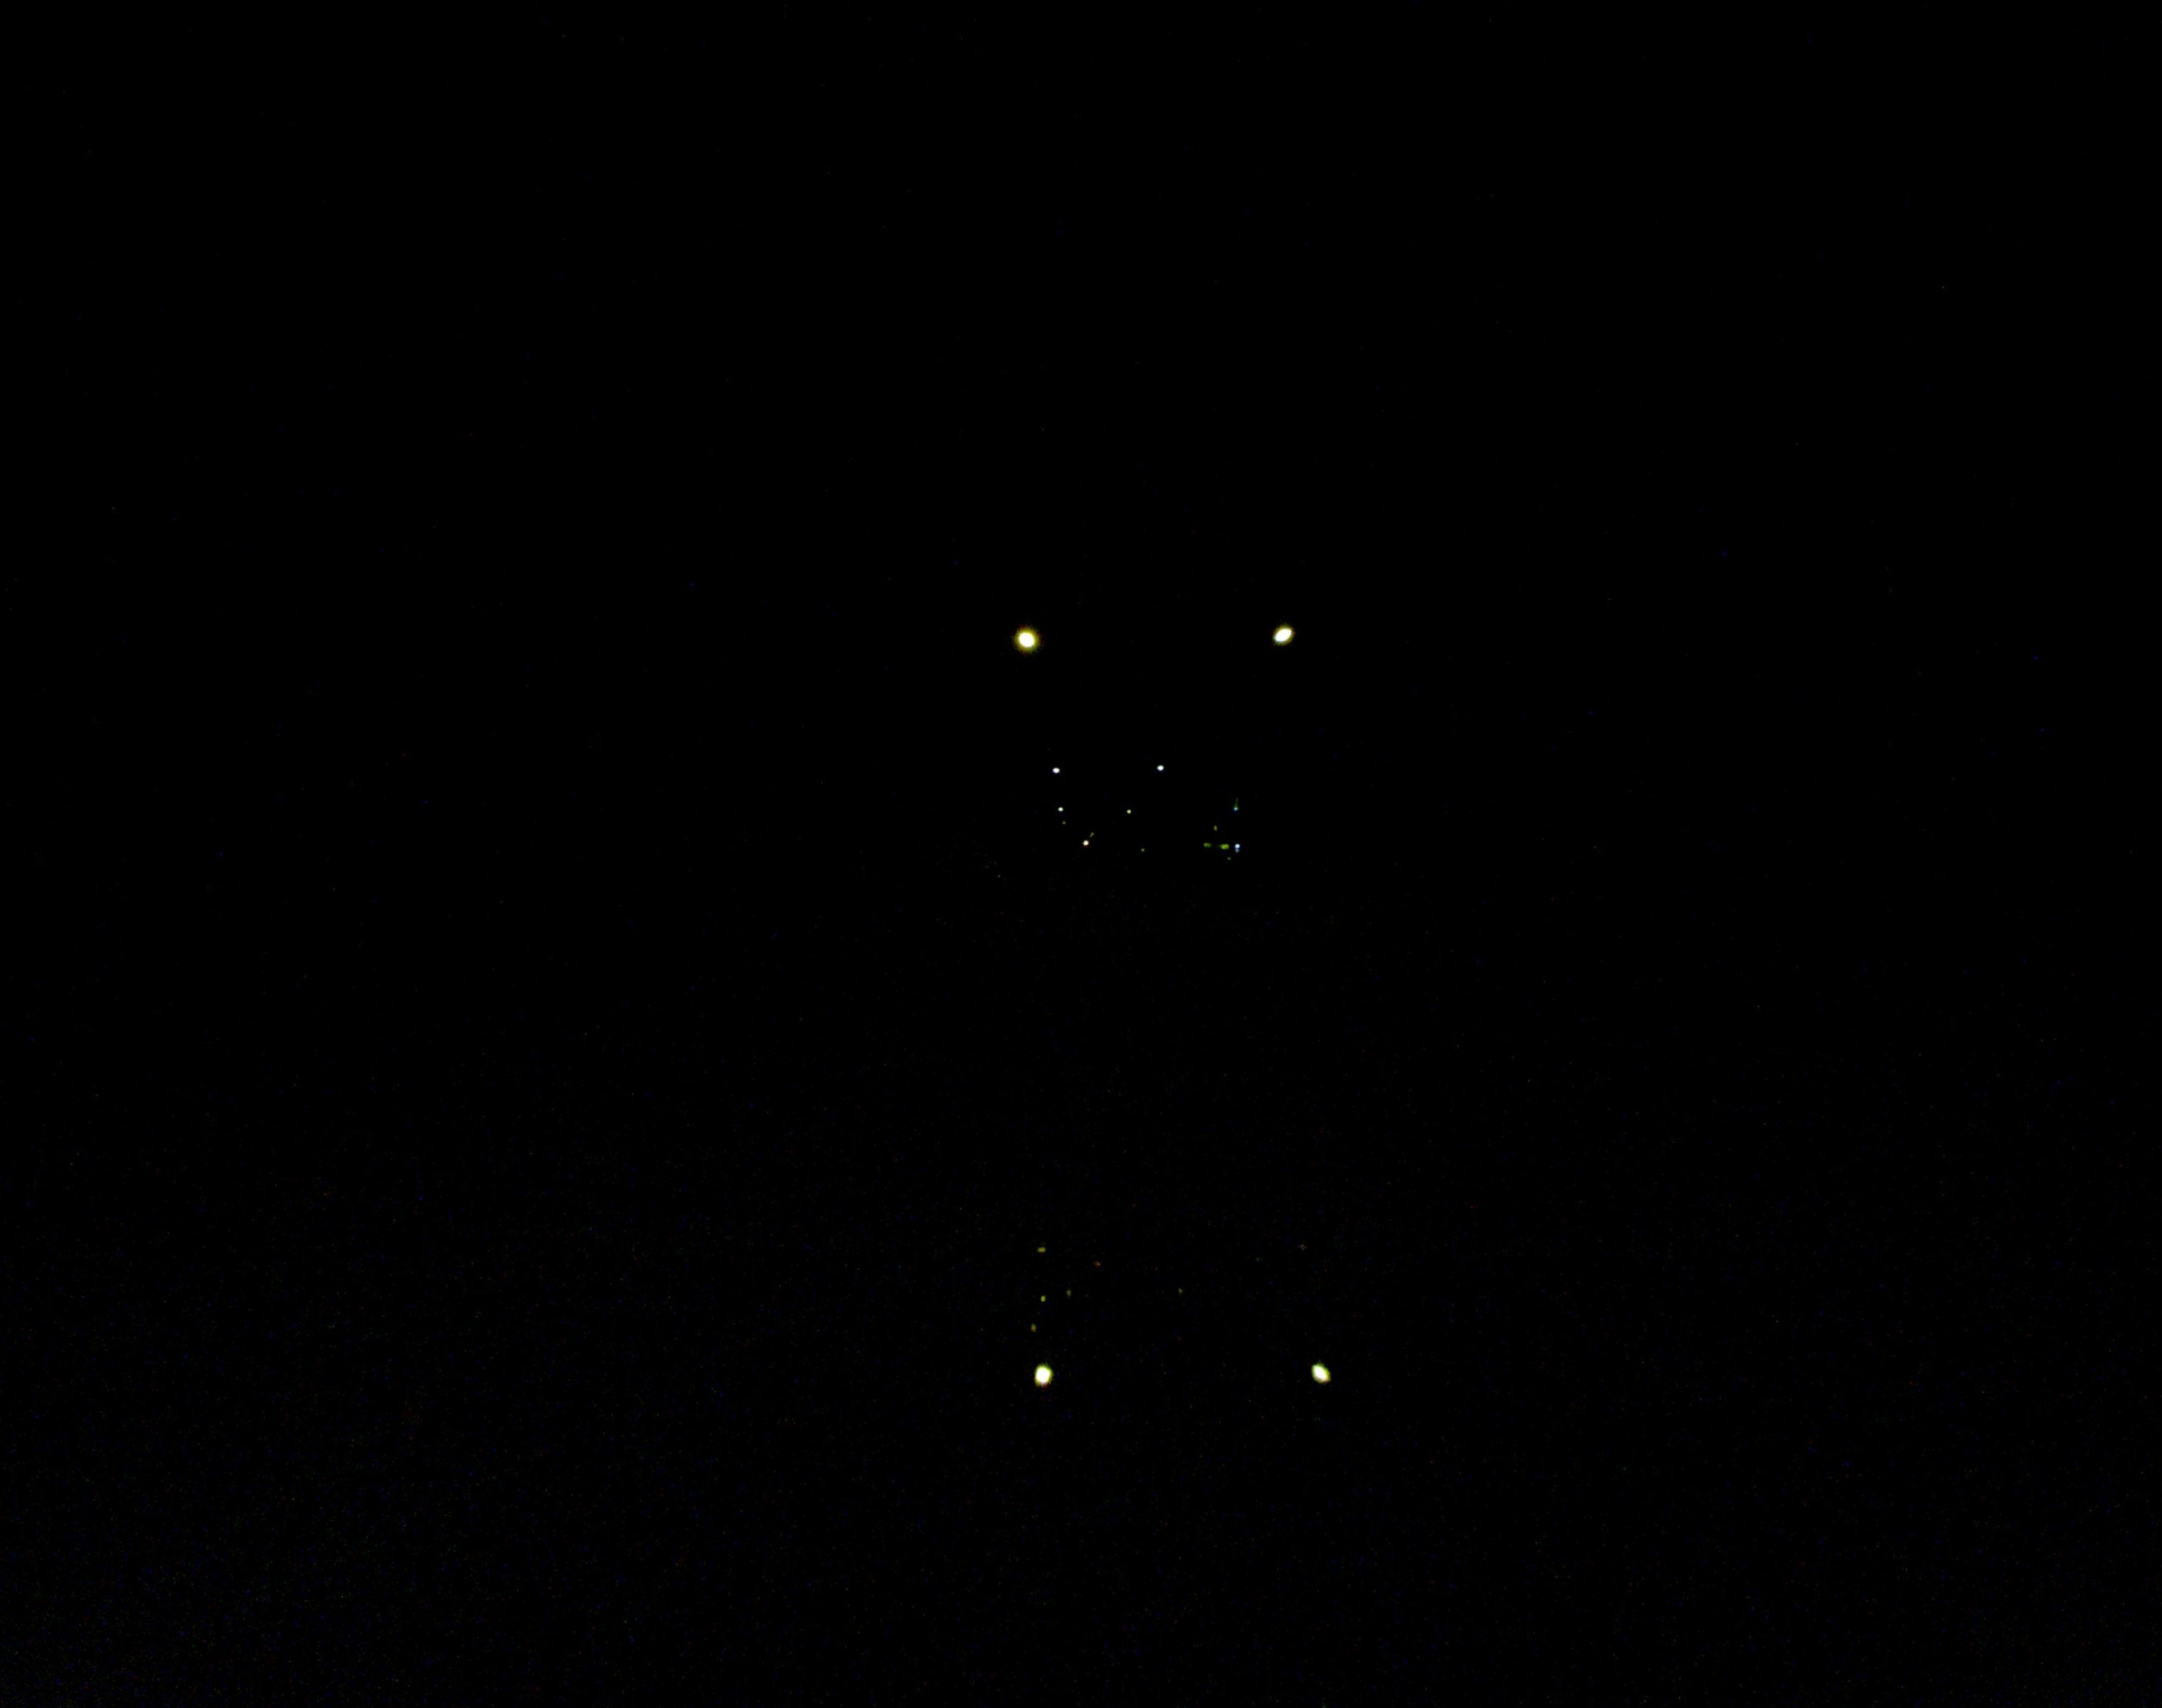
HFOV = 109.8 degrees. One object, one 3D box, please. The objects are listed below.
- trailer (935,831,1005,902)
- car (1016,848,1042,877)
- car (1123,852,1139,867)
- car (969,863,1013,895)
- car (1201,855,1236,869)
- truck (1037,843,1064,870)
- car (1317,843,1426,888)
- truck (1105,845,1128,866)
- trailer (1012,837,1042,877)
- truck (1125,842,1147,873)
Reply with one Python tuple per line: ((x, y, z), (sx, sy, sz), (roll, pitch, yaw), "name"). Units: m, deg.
((-4.443, 0.482, 31.049), (1.998, 2.635, 4.001), (-2, 0, 3), "trailer")
((-4.938, 0.780, 72.359), (1.945, 2.533, 6.646), (-2, 0, 0), "car")
((7.847, 0.898, 119.540), (2.145, 2.299, 4.468), (-2, 0, 1), "car")
((-4.386, 1.194, 37.686), (1.731, 1.378, 4.675), (-2, 0, -2), "car")
((17.487, 1.059, 96.967), (3.998, 1.455, 1.806), (-5, 0, -3), "car")
((-4.620, 0.354, 118.096), (2.515, 3.815, 12.662), (-2, 0, 4), "truck")
((14.007, 0.556, 36.776), (4.443, 1.960, 2.000), (-2, 0, -1), "car")
((6.340, 0.270, 138.299), (2.829, 3.610, 10.398), (-2, 0, -4), "truck")
((-4.625, 0.252, 66.124), (2.405, 3.306, 4.361), (-2, 0, -3), "trailer")
((7.900, 0.420, 110.357), (2.644, 4.290, 12.823), (1, 1, 2), "truck")
